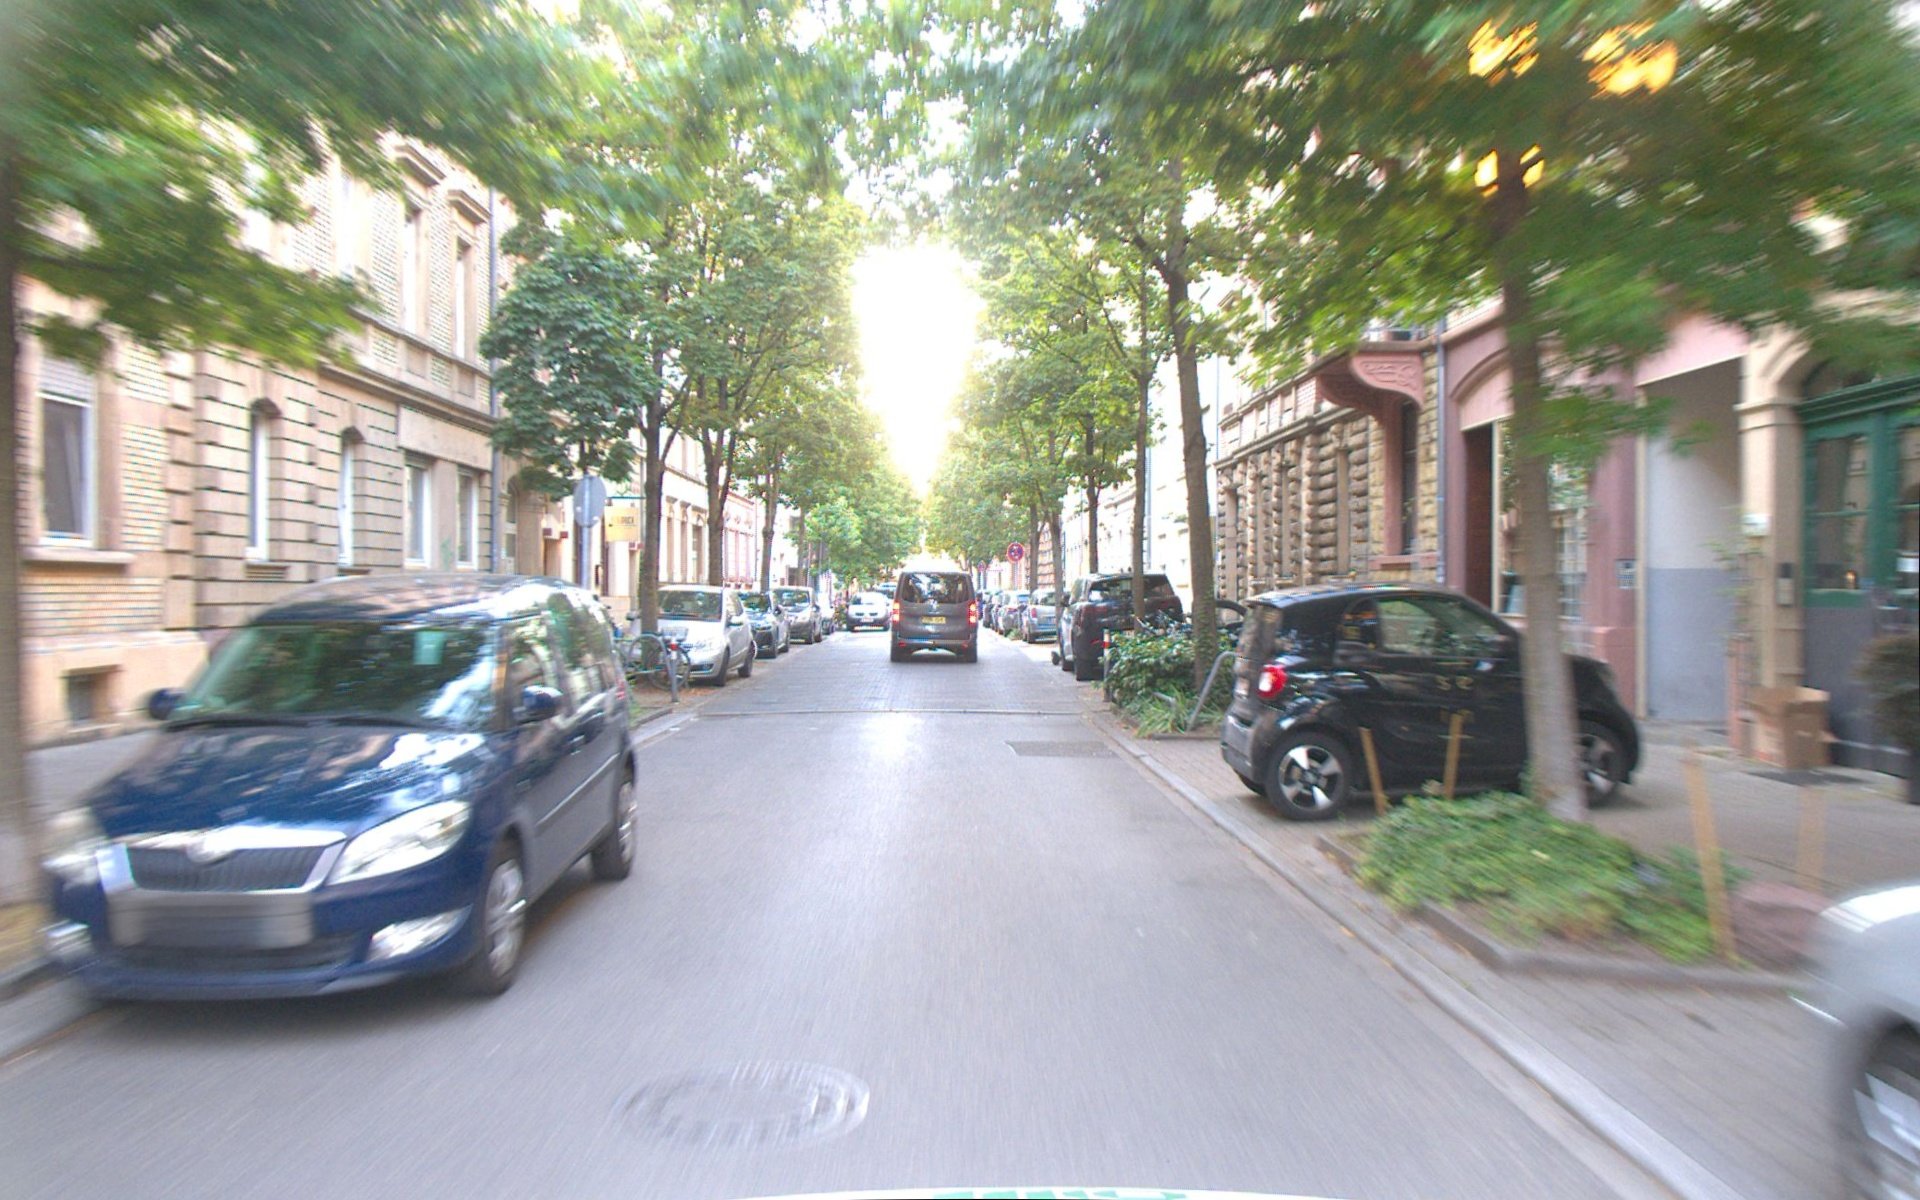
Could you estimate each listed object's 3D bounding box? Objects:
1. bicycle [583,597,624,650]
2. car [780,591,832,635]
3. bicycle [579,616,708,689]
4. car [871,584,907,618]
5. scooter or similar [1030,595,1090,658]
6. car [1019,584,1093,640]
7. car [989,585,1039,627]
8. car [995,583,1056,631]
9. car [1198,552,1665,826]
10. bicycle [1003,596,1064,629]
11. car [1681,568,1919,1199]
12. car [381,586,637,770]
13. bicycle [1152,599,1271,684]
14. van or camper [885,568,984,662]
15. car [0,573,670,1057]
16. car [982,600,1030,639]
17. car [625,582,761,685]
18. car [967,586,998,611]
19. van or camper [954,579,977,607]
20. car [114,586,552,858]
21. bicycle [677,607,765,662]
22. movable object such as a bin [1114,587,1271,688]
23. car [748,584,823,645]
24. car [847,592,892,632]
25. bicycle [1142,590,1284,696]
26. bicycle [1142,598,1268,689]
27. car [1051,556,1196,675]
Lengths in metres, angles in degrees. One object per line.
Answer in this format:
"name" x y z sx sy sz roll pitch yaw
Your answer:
"bicycle" -7.804 0.509 36.268 0.515 1.116 1.795 0 0 0
"car" -5.397 0.445 58.243 1.555 1.462 3.565 1 0 -1
"bicycle" -4.793 0.796 25.053 1.836 1.078 0.593 1 0 -20
"car" -3.448 0.019 80.224 1.630 1.590 3.997 -1 0 -4
"scooter or similar" 2.061 0.538 33.881 0.663 1.211 1.111 -3 0 38
"car" 2.691 0.312 47.044 1.723 1.488 4.306 -1 1 -2
"car" 1.984 0.205 61.878 1.603 1.449 3.563 -2 0 -2
"car" 2.193 0.206 56.272 1.682 1.502 4.366 -2 1 -3
"car" 3.248 0.582 11.837 2.741 1.627 1.800 -4 0 -1
"bicycle" 2.379 0.397 53.377 1.889 0.999 0.634 -1 0 -23
"car" 2.838 0.688 2.436 1.698 1.517 4.103 -1 0 -1
"car" -4.146 0.651 15.719 1.488 1.528 3.560 1 0 -1
"bicycle" 3.593 0.587 23.688 1.623 1.163 0.582 -1 0 2
"van or camper" -0.491 0.295 35.929 1.993 1.930 4.271 0 0 1
"car" -2.529 0.697 7.642 1.688 1.601 4.219 0 0 -1
"car" 1.824 0.760 66.758 1.731 1.439 4.473 -3 0 -1
"car" -4.517 0.518 28.466 1.641 1.635 3.862 1 1 1
"car" 1.323 -0.103 99.221 1.659 1.426 4.645 -1 0 -1
"van or camper" 0.497 -0.683 158.464 1.953 2.644 5.422 0 0 -2
"car" -4.030 0.689 11.294 1.657 1.528 3.710 1 0 -2
"bicycle" -4.778 0.691 33.119 1.649 1.021 0.430 2 0 0
"movable object such as a bin" 3.434 0.547 24.555 2.170 1.328 0.771 -4 0 1
"car" -4.905 0.377 46.897 1.671 1.608 4.078 1 1 0
"car" -3.419 0.421 62.892 1.548 1.445 3.752 -1 0 -1
"bicycle" 3.382 0.566 22.241 1.726 1.316 0.801 -3 1 -2
"bicycle" 3.405 0.598 23.059 1.661 1.219 0.582 -1 0 2
"car" 2.828 0.232 29.666 1.973 1.865 4.810 -3 1 -1
